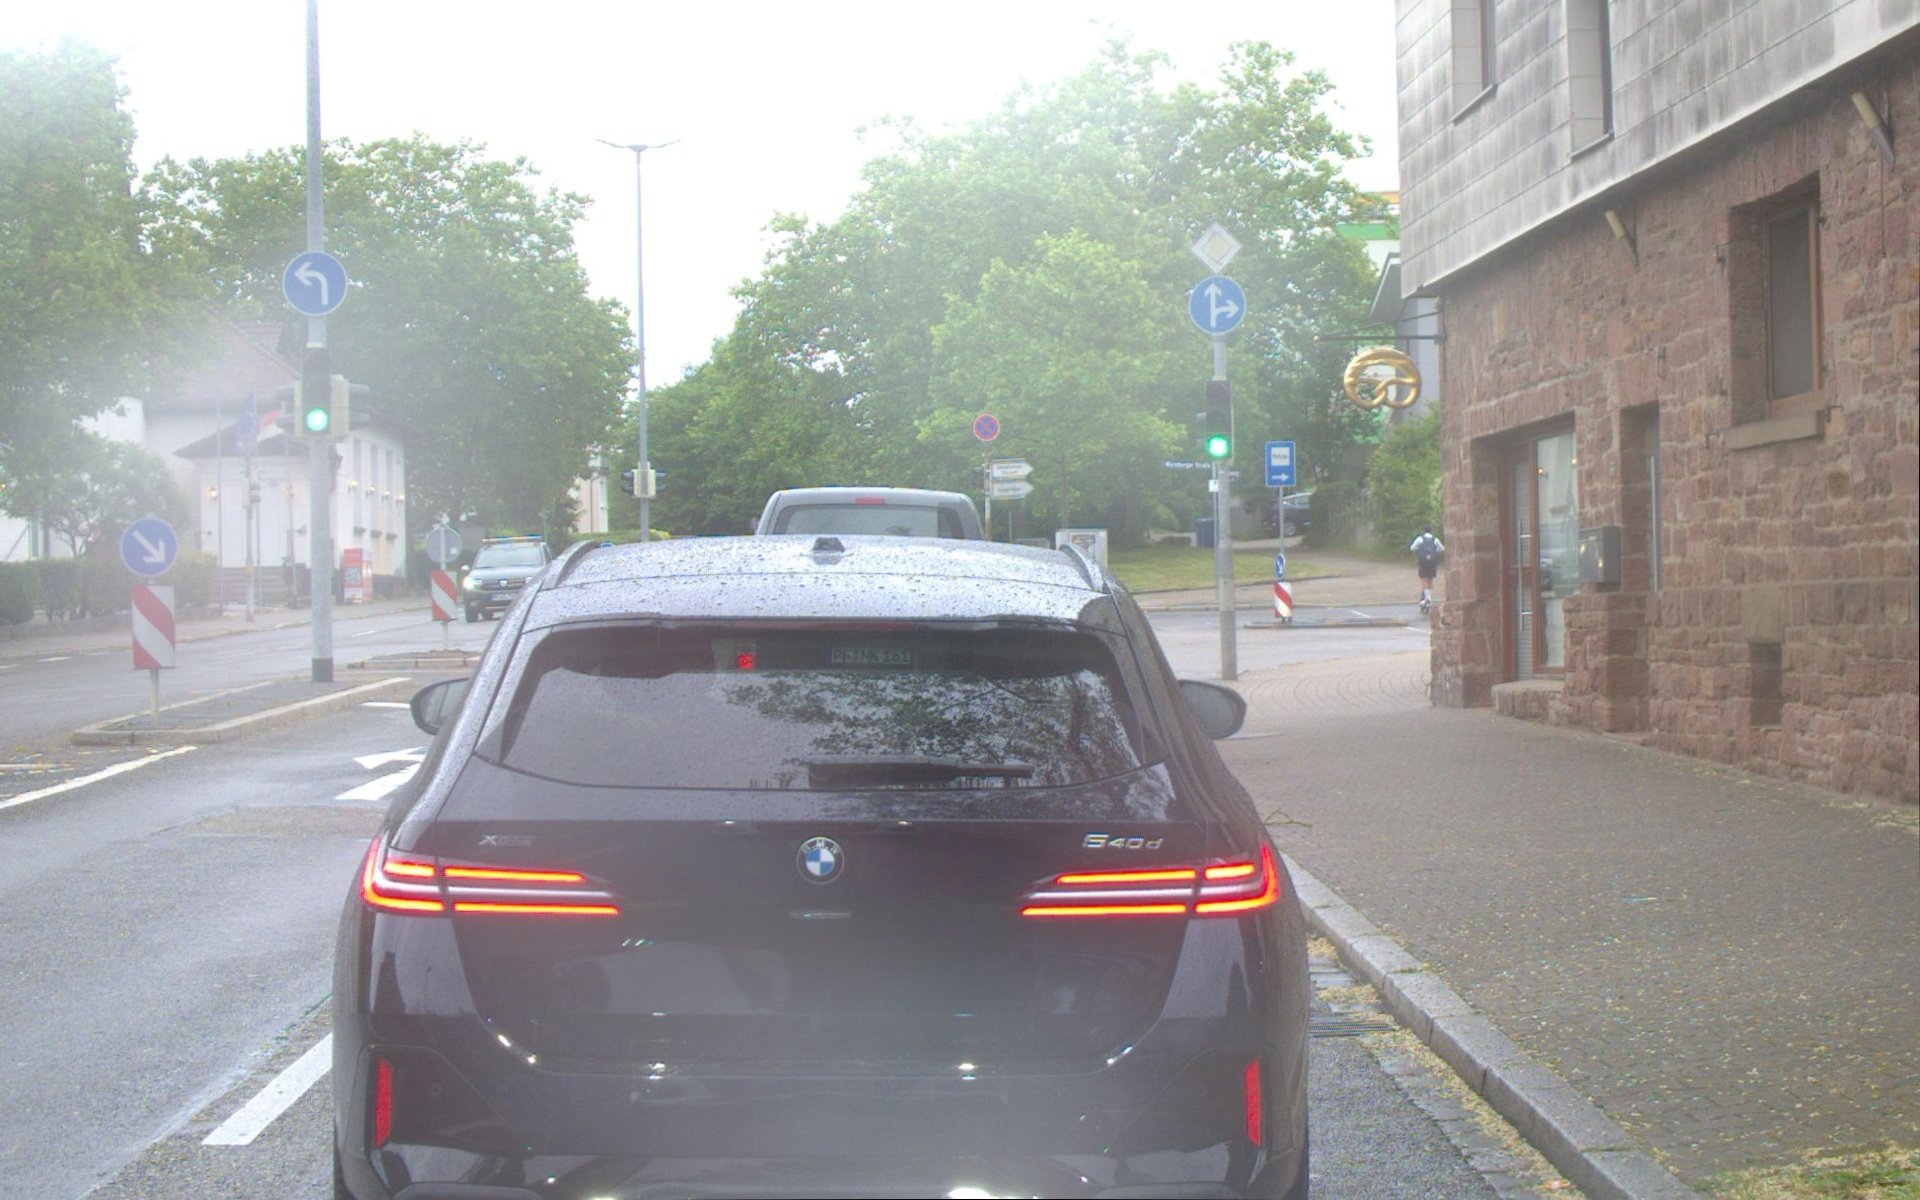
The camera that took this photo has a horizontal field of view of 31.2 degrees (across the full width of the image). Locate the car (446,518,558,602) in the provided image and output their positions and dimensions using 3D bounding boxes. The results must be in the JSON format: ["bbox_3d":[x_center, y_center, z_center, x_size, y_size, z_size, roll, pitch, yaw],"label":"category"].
[{"bbox_3d":[-9.269,-0.837,69.860,1.898,1.572,4.503,-1,2,-4],"label":"car"}]

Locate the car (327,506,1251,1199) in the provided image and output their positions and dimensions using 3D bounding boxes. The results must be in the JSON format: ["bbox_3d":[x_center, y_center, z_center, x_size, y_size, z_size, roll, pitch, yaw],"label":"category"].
[{"bbox_3d":[-0.390,0.601,7.492,1.523,1.529,3.532,1,0,-4],"label":"car"}]

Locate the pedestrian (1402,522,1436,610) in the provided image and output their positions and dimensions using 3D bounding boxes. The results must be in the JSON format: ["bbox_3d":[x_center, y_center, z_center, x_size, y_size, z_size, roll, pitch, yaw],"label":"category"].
[{"bbox_3d":[8.527,-0.634,63.882,0.601,1.611,0.525,1,0,6],"label":"pedestrian"}]

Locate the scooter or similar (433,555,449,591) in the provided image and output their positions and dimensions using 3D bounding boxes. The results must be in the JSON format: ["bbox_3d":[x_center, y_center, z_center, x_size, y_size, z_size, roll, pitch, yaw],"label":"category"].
[{"bbox_3d":[-15.842,-0.825,104.962,0.389,1.061,1.411,1,1,-5],"label":"scooter or similar"}]

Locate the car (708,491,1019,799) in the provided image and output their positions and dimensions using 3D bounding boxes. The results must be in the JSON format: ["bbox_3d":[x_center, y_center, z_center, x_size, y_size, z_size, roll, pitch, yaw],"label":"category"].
[{"bbox_3d":[-0.684,0.248,22.222,1.812,1.802,3.757,1,0,-4],"label":"car"}]

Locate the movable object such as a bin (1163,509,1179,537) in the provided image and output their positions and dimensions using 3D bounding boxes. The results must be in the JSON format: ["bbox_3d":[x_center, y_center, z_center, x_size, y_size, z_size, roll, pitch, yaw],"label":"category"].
[{"bbox_3d":[7.075,-2.583,115.258,0.450,0.902,0.462,1,0,15],"label":"movable object such as a bin"}]
